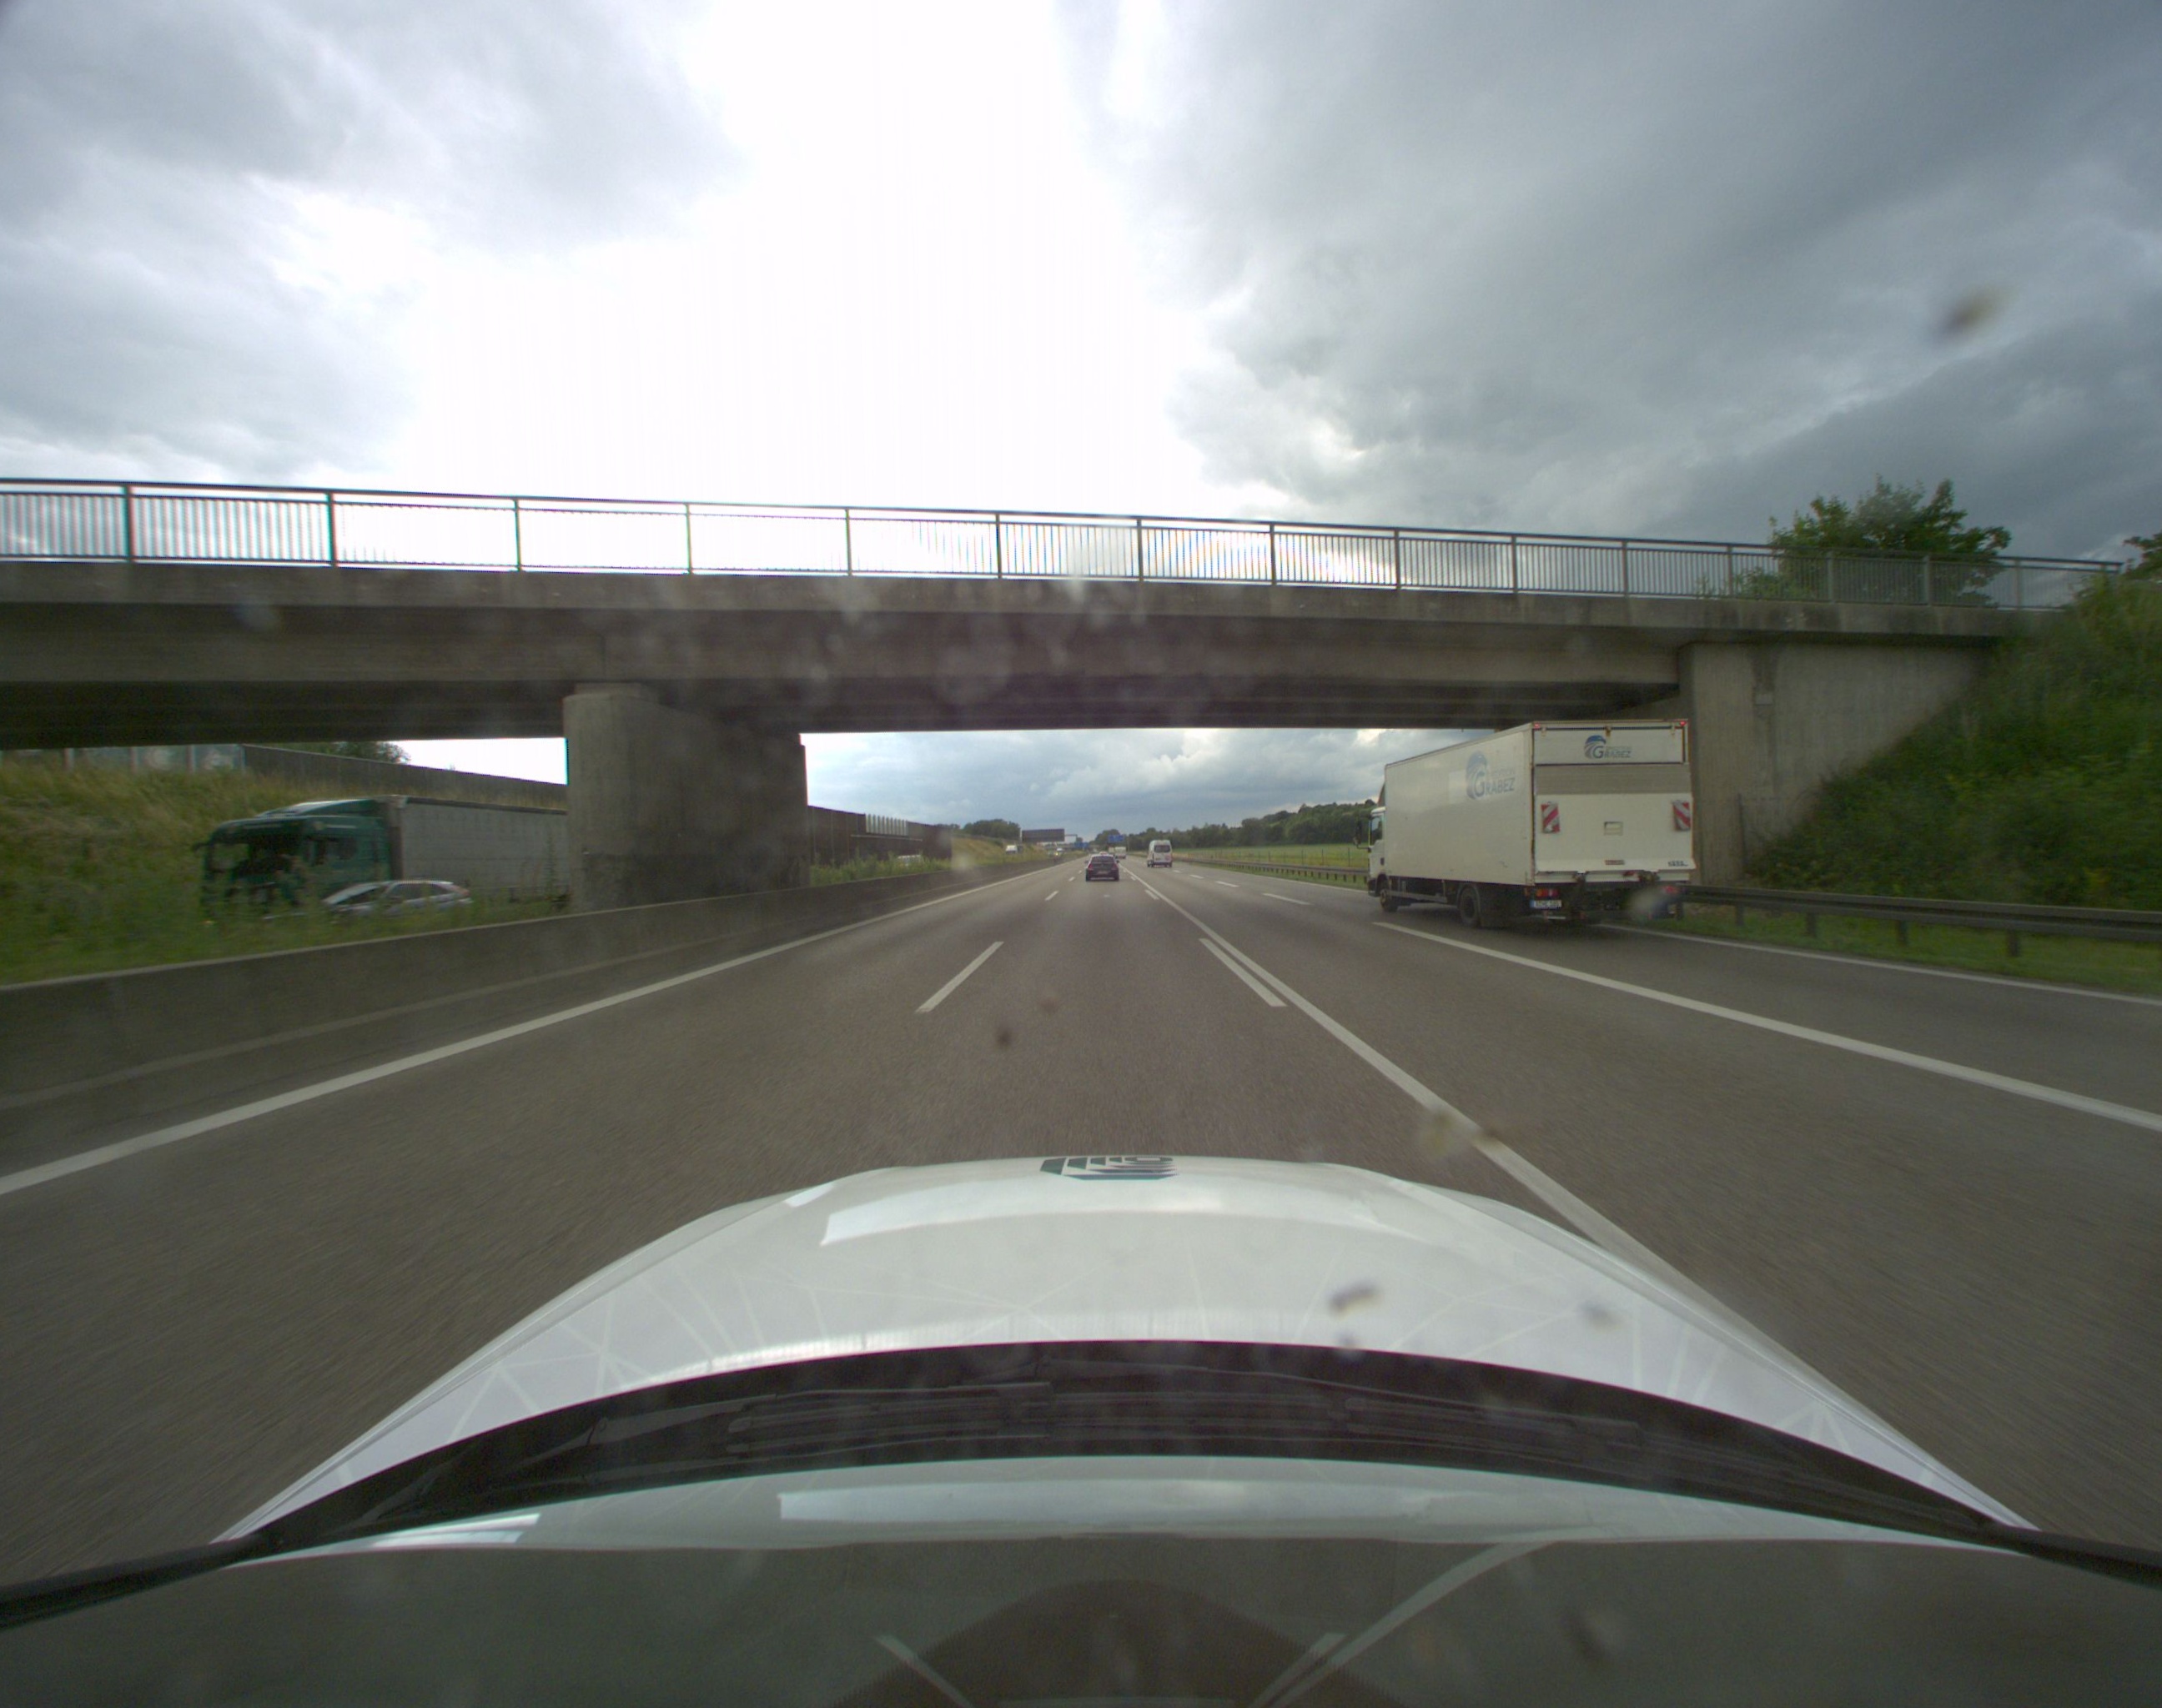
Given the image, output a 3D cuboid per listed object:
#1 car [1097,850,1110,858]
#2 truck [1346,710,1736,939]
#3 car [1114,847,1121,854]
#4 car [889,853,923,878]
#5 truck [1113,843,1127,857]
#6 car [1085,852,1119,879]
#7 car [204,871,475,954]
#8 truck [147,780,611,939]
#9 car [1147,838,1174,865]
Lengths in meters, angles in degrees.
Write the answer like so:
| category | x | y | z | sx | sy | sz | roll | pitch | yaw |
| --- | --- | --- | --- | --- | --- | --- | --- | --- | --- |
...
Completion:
| category | x | y | z | sx | sy | sz | roll | pitch | yaw |
| --- | --- | --- | --- | --- | --- | --- | --- | --- | --- |
| car | 3.620 | 0.008 | 130.081 | 1.987 | 1.298 | 4.000 | -2 | 0 | 1 |
| truck | 8.418 | -0.438 | 16.791 | 3.094 | 3.470 | 8.890 | 0 | 0 | 0 |
| car | 10.638 | -0.979 | 237.852 | 1.986 | 2.013 | 4.001 | -3 | 0 | 1 |
| car | -14.362 | 0.916 | 67.146 | 1.721 | 1.829 | 4.720 | -2 | 0 | 0 |
| truck | 8.497 | -0.813 | 177.092 | 2.700 | 2.964 | 12.449 | 0 | 0 | 1 |
| car | 1.146 | 0.607 | 44.206 | 1.737 | 1.389 | 4.001 | -1 | 0 | 1 |
| car | -16.751 | 1.223 | 18.858 | 1.721 | 1.484 | 4.922 | -2 | 0 | 0 |
| truck | -20.284 | 0.146 | 25.658 | 2.986 | 3.684 | 13.013 | -1 | 0 | 2 |
| car | 7.876 | -0.263 | 81.051 | 2.213 | 2.568 | 6.258 | -1 | 0 | 2 |
